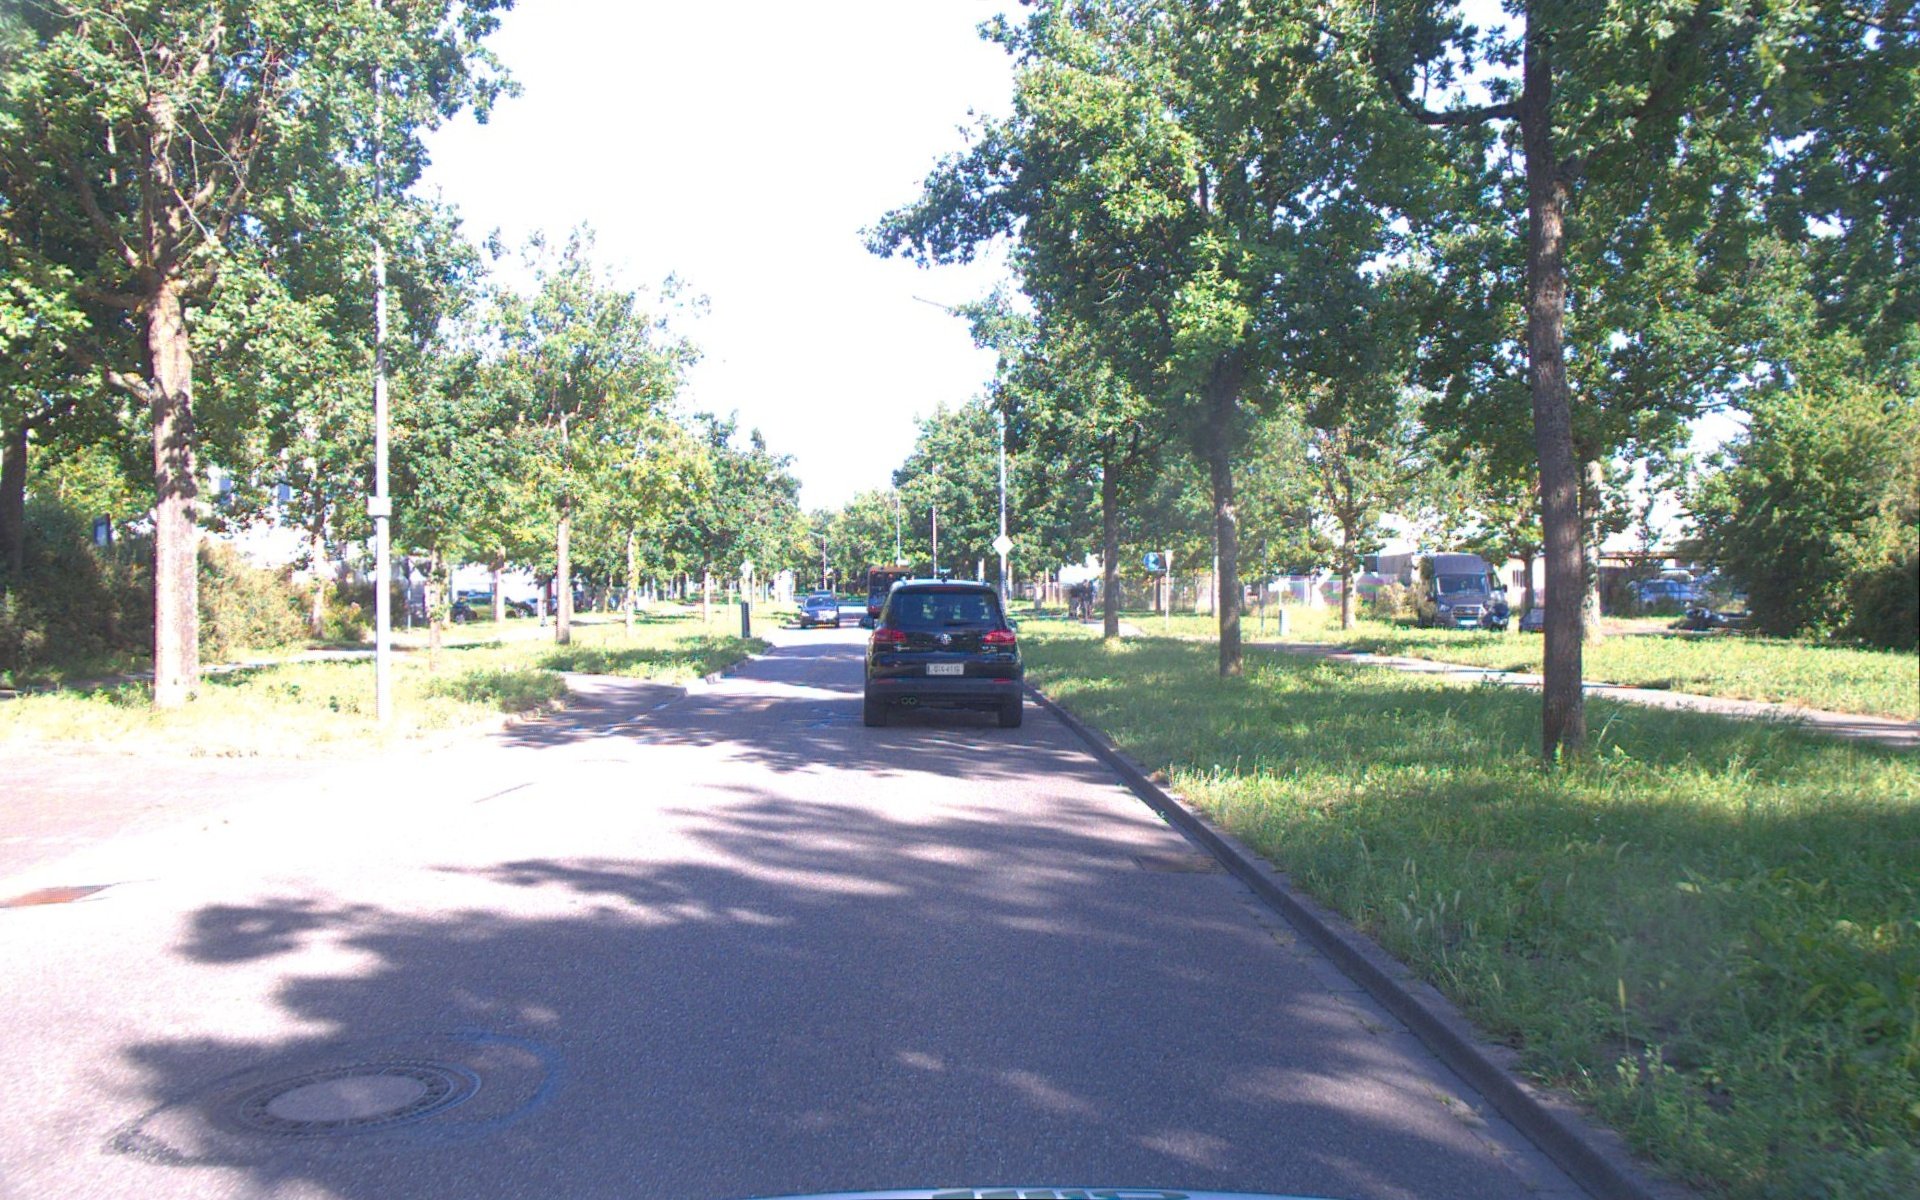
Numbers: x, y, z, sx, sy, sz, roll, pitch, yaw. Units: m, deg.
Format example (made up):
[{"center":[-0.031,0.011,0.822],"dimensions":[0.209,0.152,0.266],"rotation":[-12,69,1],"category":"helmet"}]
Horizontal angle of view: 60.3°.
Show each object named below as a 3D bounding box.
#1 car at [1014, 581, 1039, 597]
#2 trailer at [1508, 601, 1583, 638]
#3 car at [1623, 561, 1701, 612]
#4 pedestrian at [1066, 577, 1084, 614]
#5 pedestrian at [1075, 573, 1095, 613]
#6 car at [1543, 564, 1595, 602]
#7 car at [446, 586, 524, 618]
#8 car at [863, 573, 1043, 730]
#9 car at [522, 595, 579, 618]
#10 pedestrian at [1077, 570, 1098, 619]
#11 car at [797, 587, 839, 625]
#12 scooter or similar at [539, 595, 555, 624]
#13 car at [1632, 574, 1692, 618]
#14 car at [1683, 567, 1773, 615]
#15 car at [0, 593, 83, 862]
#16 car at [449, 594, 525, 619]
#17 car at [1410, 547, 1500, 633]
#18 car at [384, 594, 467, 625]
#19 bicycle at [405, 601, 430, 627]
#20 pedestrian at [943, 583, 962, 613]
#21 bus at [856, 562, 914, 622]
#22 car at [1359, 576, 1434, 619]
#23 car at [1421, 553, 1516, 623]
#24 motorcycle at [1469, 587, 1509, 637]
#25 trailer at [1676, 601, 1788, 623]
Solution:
[{"center":[7.782,-1.268,193.781],"dimensions":[2.144,1.774,4.632],"rotation":[-1,1,-9],"category":"car"},{"center":[15.742,0.542,44.543],"dimensions":[1.545,0.883,2.055],"rotation":[-1,-4,8],"category":"trailer"},{"center":[32.462,-0.673,76.648],"dimensions":[2.040,2.097,5.019],"rotation":[1,3,8],"category":"car"},{"center":[5.182,-0.201,74.571],"dimensions":[0.711,1.631,0.867],"rotation":[-1,0,-4],"category":"pedestrian"},{"center":[5.668,-0.308,75.277],"dimensions":[0.711,1.785,0.867],"rotation":[-3,0,-4],"category":"pedestrian"},{"center":[28.263,-0.787,76.878],"dimensions":[1.796,1.668,4.003],"rotation":[-1,0,14],"category":"car"},{"center":[-32.511,0.140,113.224],"dimensions":[1.966,2.049,4.825],"rotation":[-1,1,44],"category":"car"},{"center":[-0.205,0.531,20.103],"dimensions":[1.898,1.685,4.424],"rotation":[1,1,-4],"category":"car"},{"center":[-30.863,0.491,124.636],"dimensions":[3.662,1.646,1.965],"rotation":[-1,0,11],"category":"car"},{"center":[4.960,-0.221,64.368],"dimensions":[0.711,1.843,0.867],"rotation":[-1,3,-4],"category":"pedestrian"},{"center":[-6.354,0.258,74.282],"dimensions":[1.730,1.555,4.492],"rotation":[-2,1,-4],"category":"car"},{"center":[-18.493,0.412,74.087],"dimensions":[0.387,1.301,1.440],"rotation":[-1,0,-3],"category":"scooter or similar"},{"center":[27.908,-0.189,65.840],"dimensions":[1.796,1.668,4.003],"rotation":[-1,1,17],"category":"car"},{"center":[30.690,-0.376,66.195],"dimensions":[1.951,1.855,4.002],"rotation":[-1,0,4],"category":"car"},{"center":[-7.968,0.745,9.620],"dimensions":[4.536,1.585,2.189],"rotation":[1,1,-6],"category":"car"},{"center":[-28.261,0.378,98.860],"dimensions":[1.966,1.426,3.926],"rotation":[0,1,44],"category":"car"},{"center":[16.941,-0.413,56.859],"dimensions":[2.040,2.610,5.979],"rotation":[1,3,8],"category":"car"},{"center":[-28.923,0.520,89.506],"dimensions":[3.950,1.537,1.781],"rotation":[-1,2,-33],"category":"car"},{"center":[-24.870,0.634,75.818],"dimensions":[0.626,1.106,1.890],"rotation":[-1,0,-4],"category":"bicycle"},{"center":[-0.454,-0.120,95.787],"dimensions":[0.999,1.680,1.099],"rotation":[-1,0,-4],"category":"pedestrian"},{"center":[-4.737,-0.537,102.580],"dimensions":[2.712,3.517,11.194],"rotation":[-1,1,-7],"category":"bus"},{"center":[17.934,-0.129,68.144],"dimensions":[1.966,1.693,3.594],"rotation":[-1,0,-3],"category":"car"},{"center":[20.544,-0.477,67.036],"dimensions":[2.117,2.689,4.848],"rotation":[-1,0,-3],"category":"car"},{"center":[14.839,0.346,46.435],"dimensions":[0.648,1.253,2.407],"rotation":[-1,-4,8],"category":"motorcycle"},{"center":[26.308,0.391,56.516],"dimensions":[2.180,0.662,4.826],"rotation":[-1,0,9],"category":"trailer"}]
